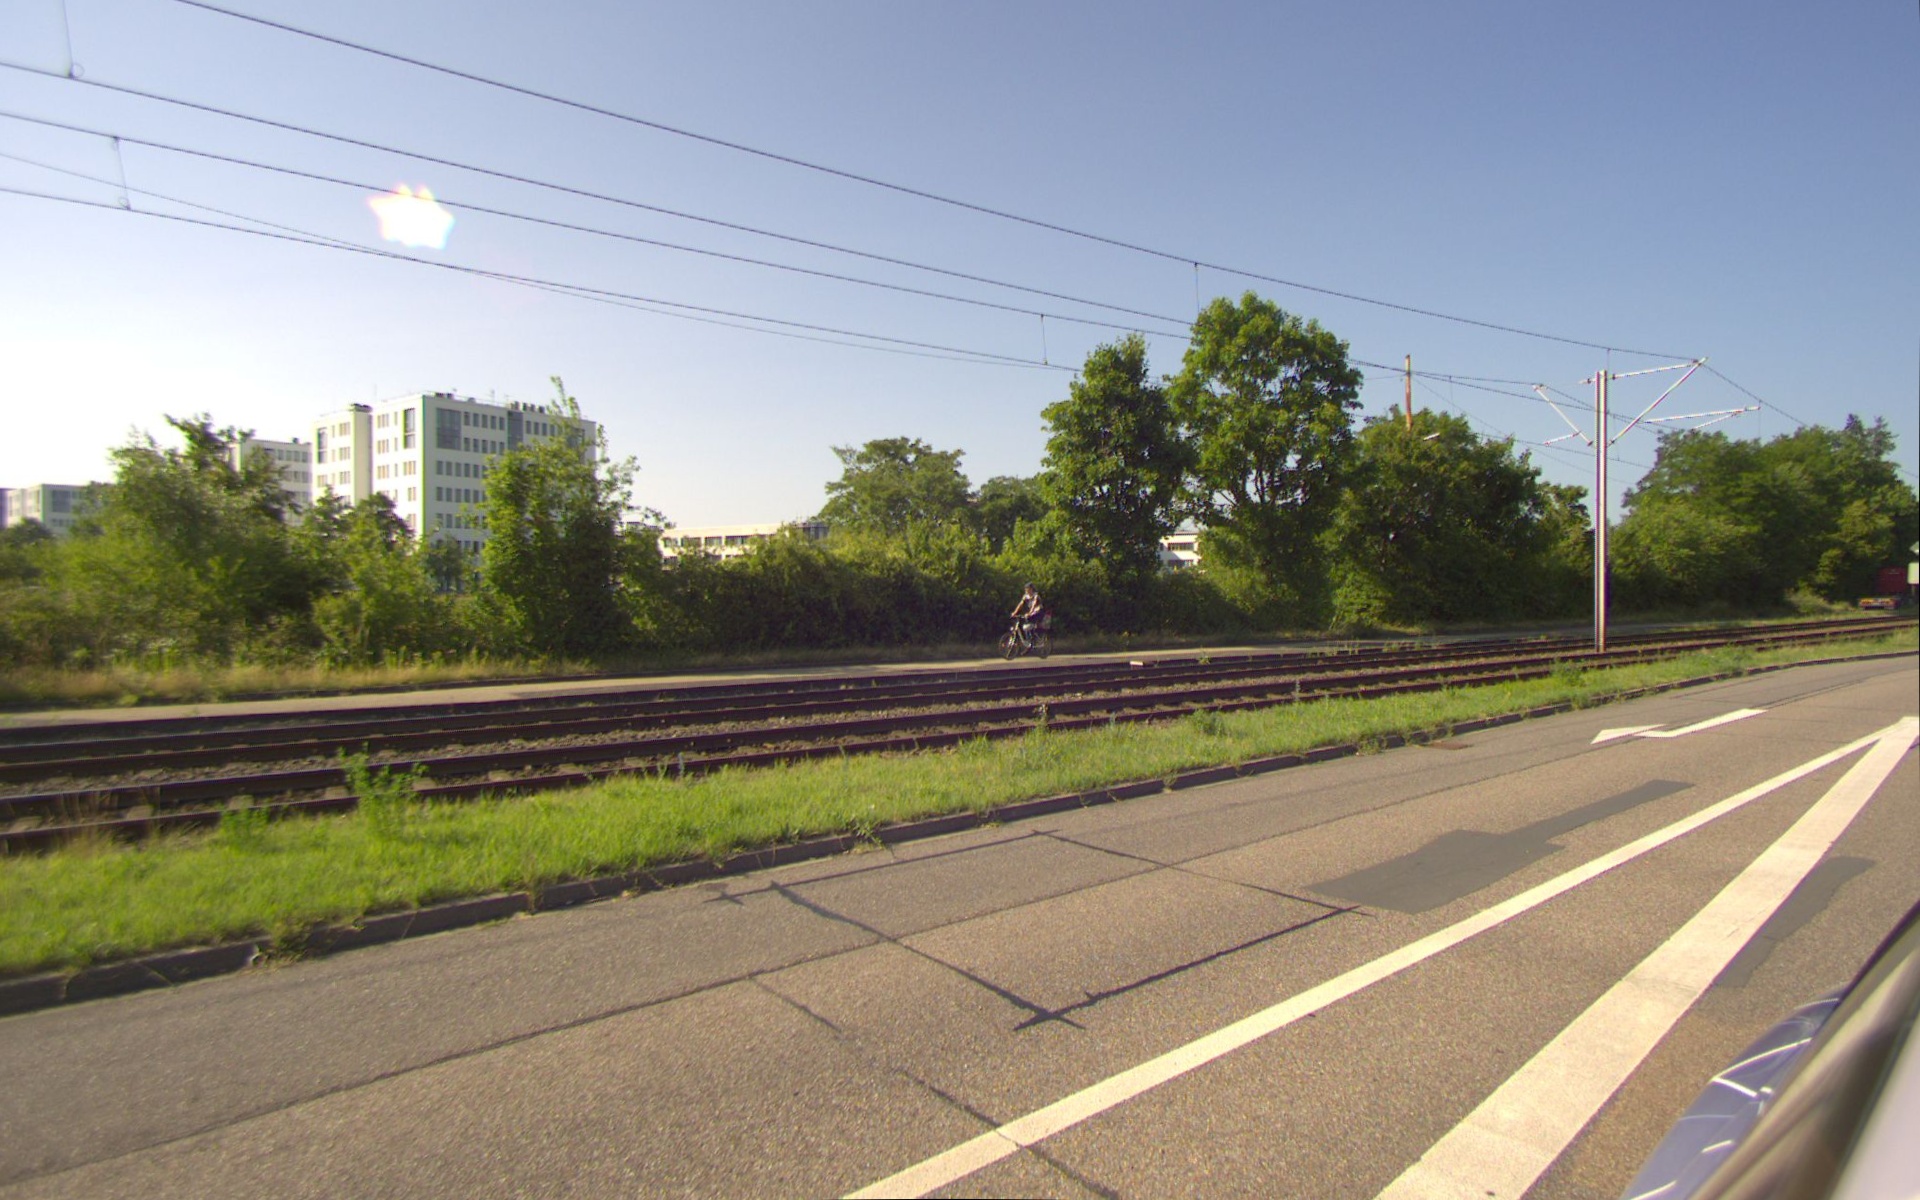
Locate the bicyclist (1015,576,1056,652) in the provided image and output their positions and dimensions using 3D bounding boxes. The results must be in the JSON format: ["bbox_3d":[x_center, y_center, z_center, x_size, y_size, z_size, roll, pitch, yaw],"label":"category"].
[{"bbox_3d":[1.861,0.329,24.883,0.704,1.830,0.708,0,0,-38],"label":"bicyclist"}]

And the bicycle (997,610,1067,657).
[{"bbox_3d":[1.783,0.801,24.836,1.840,1.060,0.547,-1,1,-38],"label":"bicycle"}]
